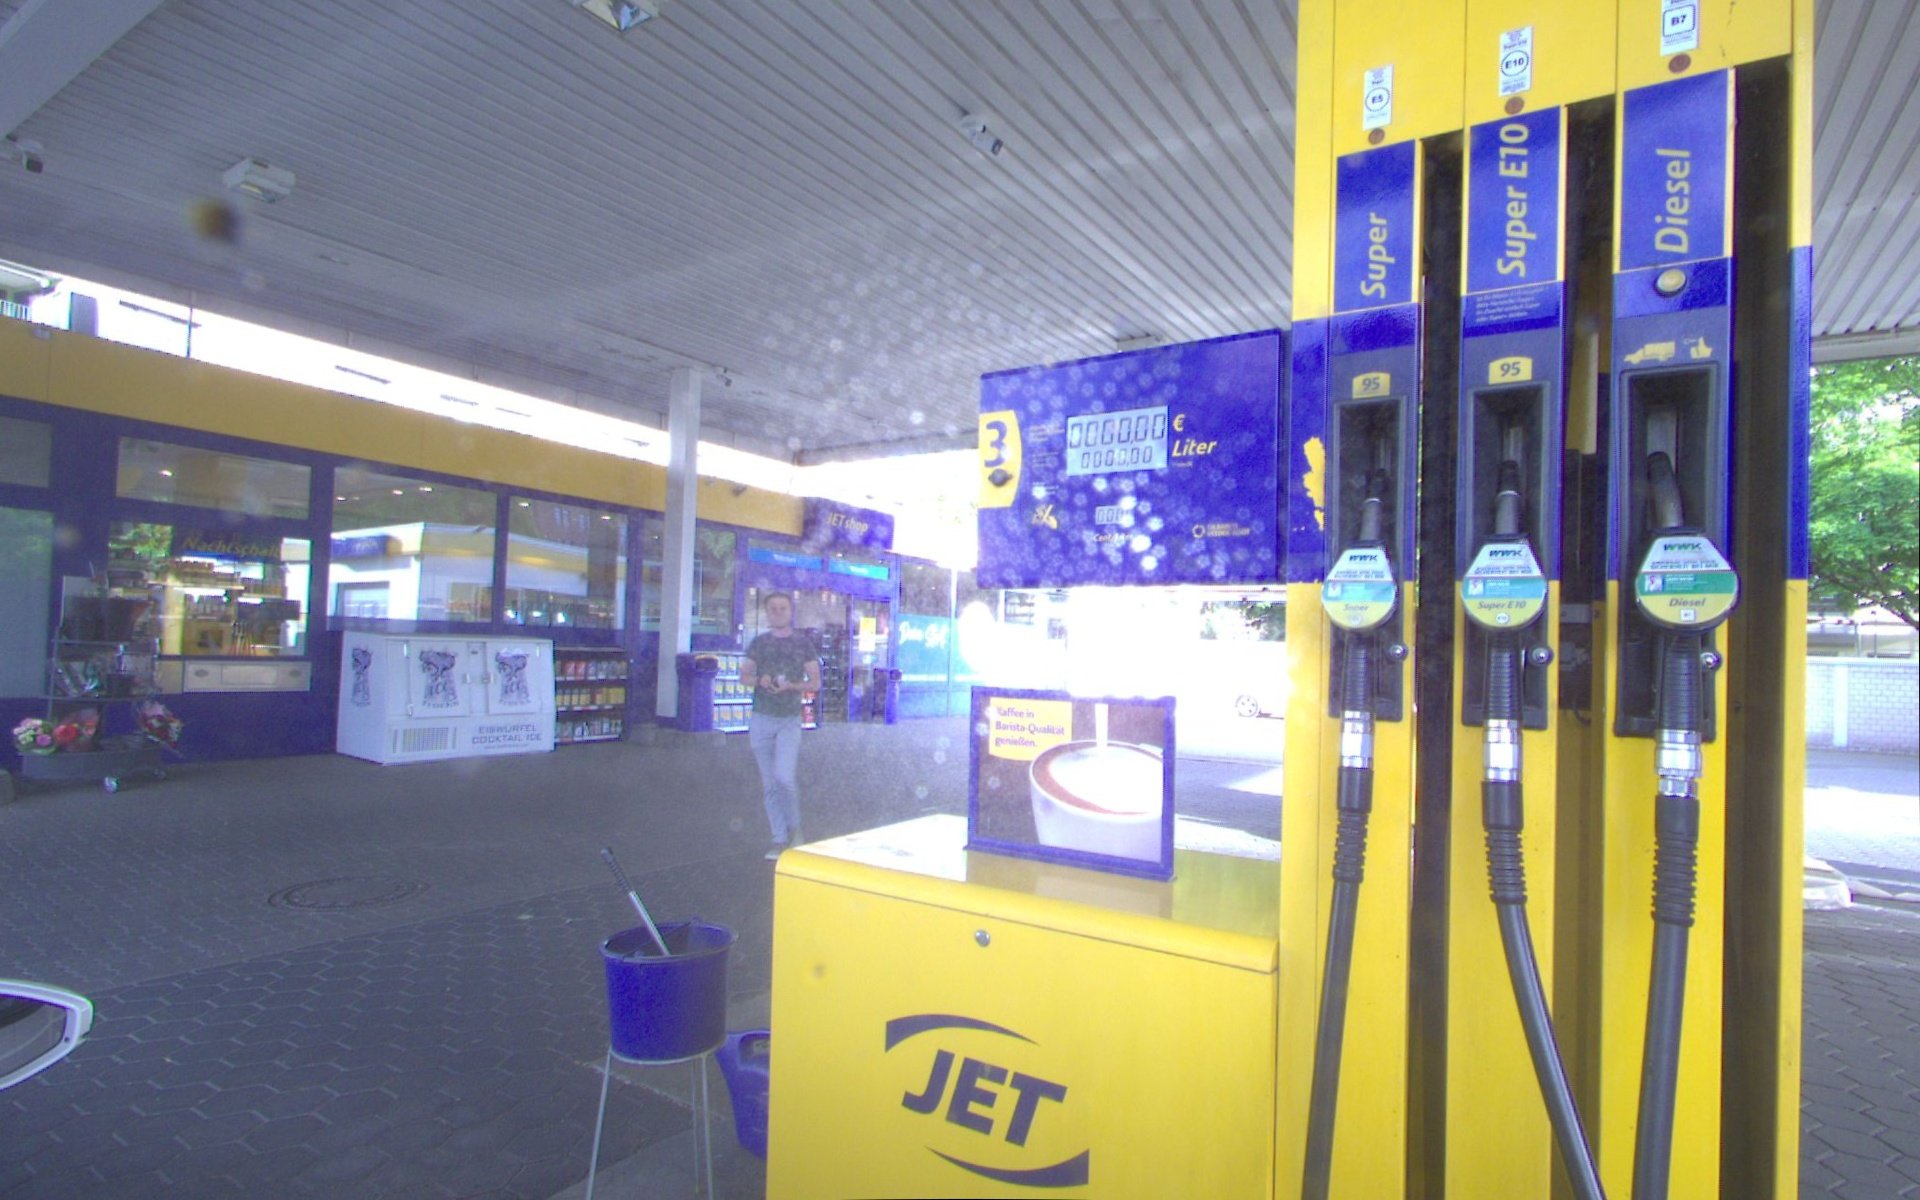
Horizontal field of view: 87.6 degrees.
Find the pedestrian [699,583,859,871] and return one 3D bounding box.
[{"bbox_3d":[-1.236,0.847,7.039,0.788,1.838,0.985,2,-2,6],"label":"pedestrian"}]
